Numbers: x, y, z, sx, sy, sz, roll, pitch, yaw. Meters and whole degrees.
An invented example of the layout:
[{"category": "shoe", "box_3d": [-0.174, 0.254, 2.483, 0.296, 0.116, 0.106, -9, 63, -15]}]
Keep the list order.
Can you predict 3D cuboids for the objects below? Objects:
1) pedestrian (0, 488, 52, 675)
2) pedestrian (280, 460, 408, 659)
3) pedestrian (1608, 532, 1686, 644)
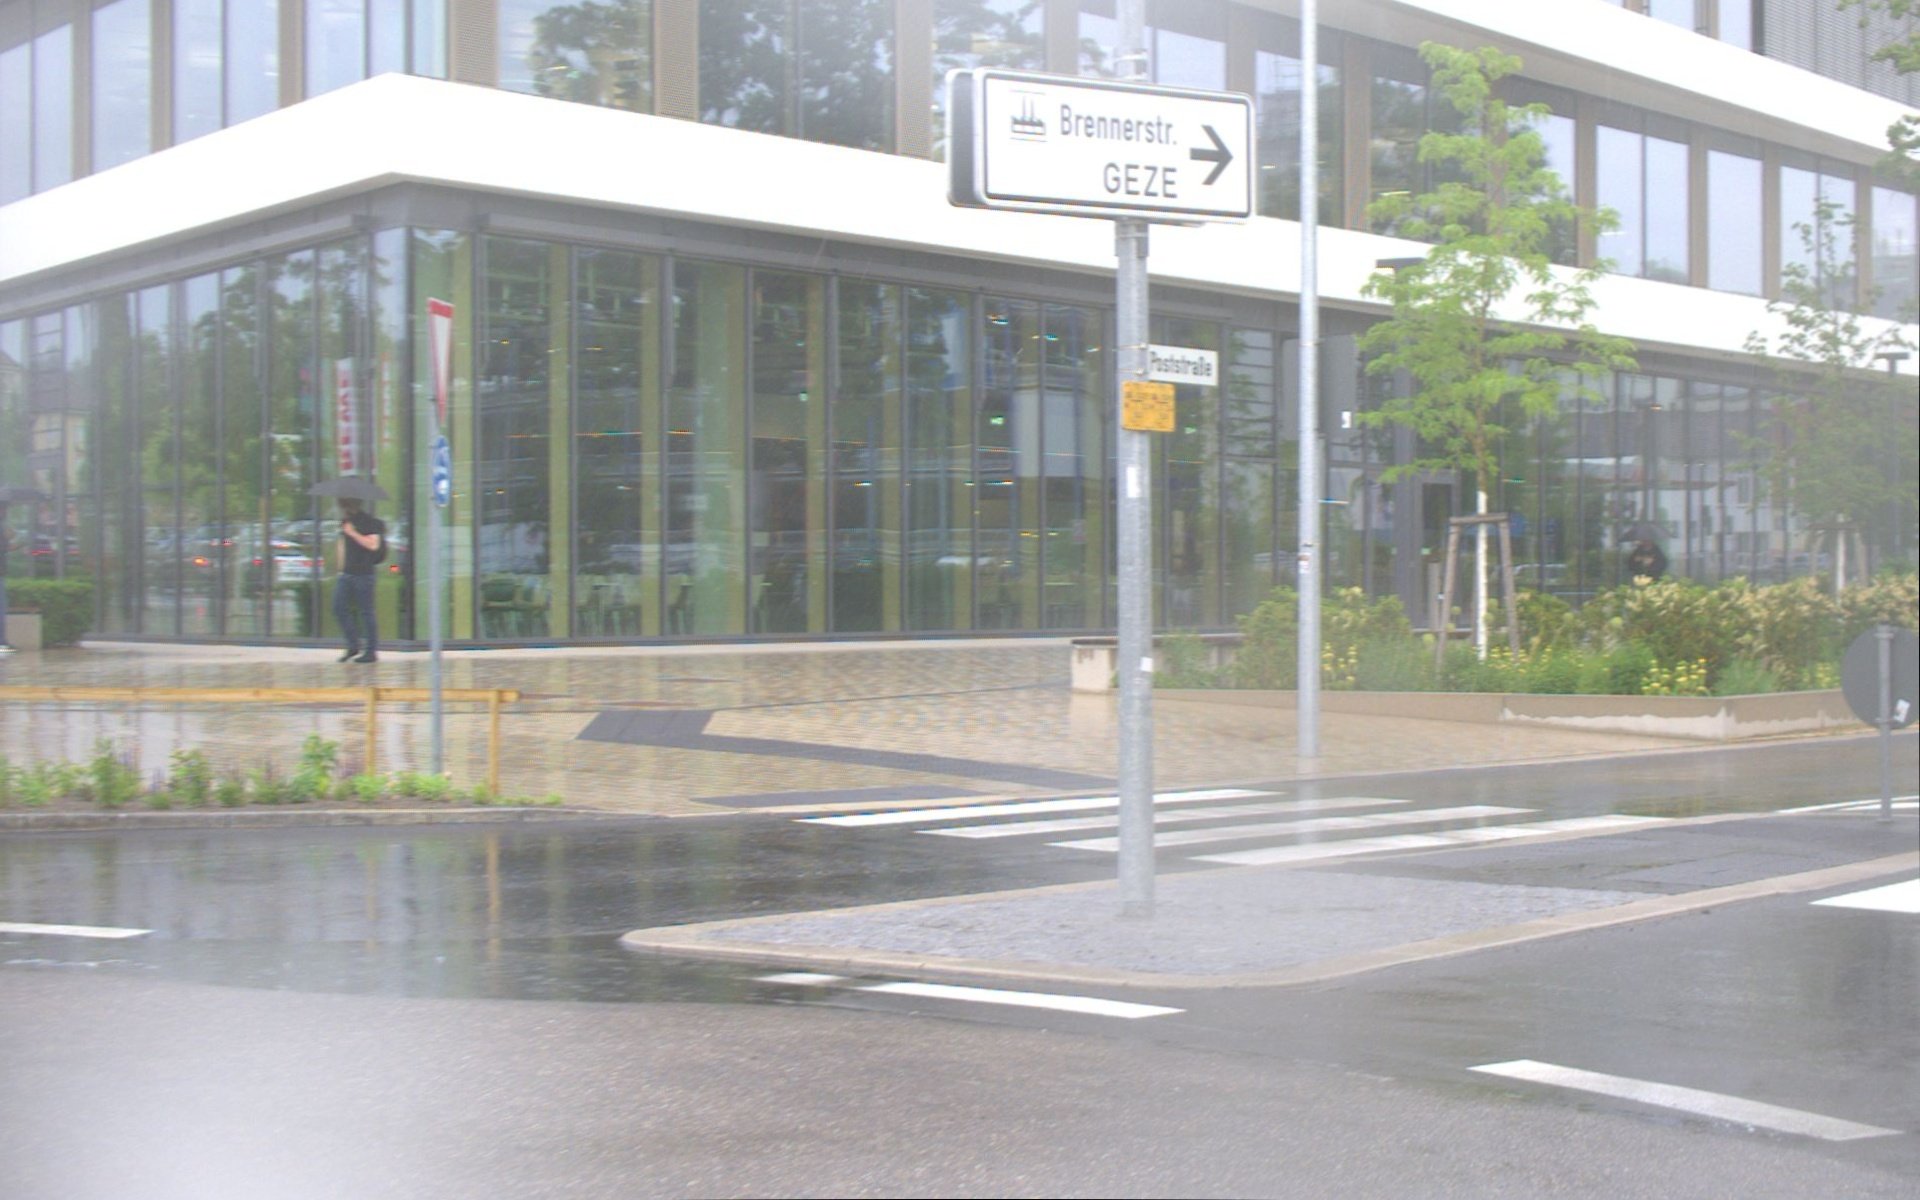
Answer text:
[{"category": "pedestrian", "box_3d": [-11.105, -0.221, 39.730, 1.002, 2.138, 0.932, 0, 1, -28]}, {"category": "pedestrian", "box_3d": [-6.323, -0.427, 35.307, 0.892, 2.007, 0.930, 1, 1, 32]}, {"category": "pedestrian", "box_3d": [10.735, -0.184, 53.722, 0.726, 1.698, 0.954, 5, 2, 39]}]
